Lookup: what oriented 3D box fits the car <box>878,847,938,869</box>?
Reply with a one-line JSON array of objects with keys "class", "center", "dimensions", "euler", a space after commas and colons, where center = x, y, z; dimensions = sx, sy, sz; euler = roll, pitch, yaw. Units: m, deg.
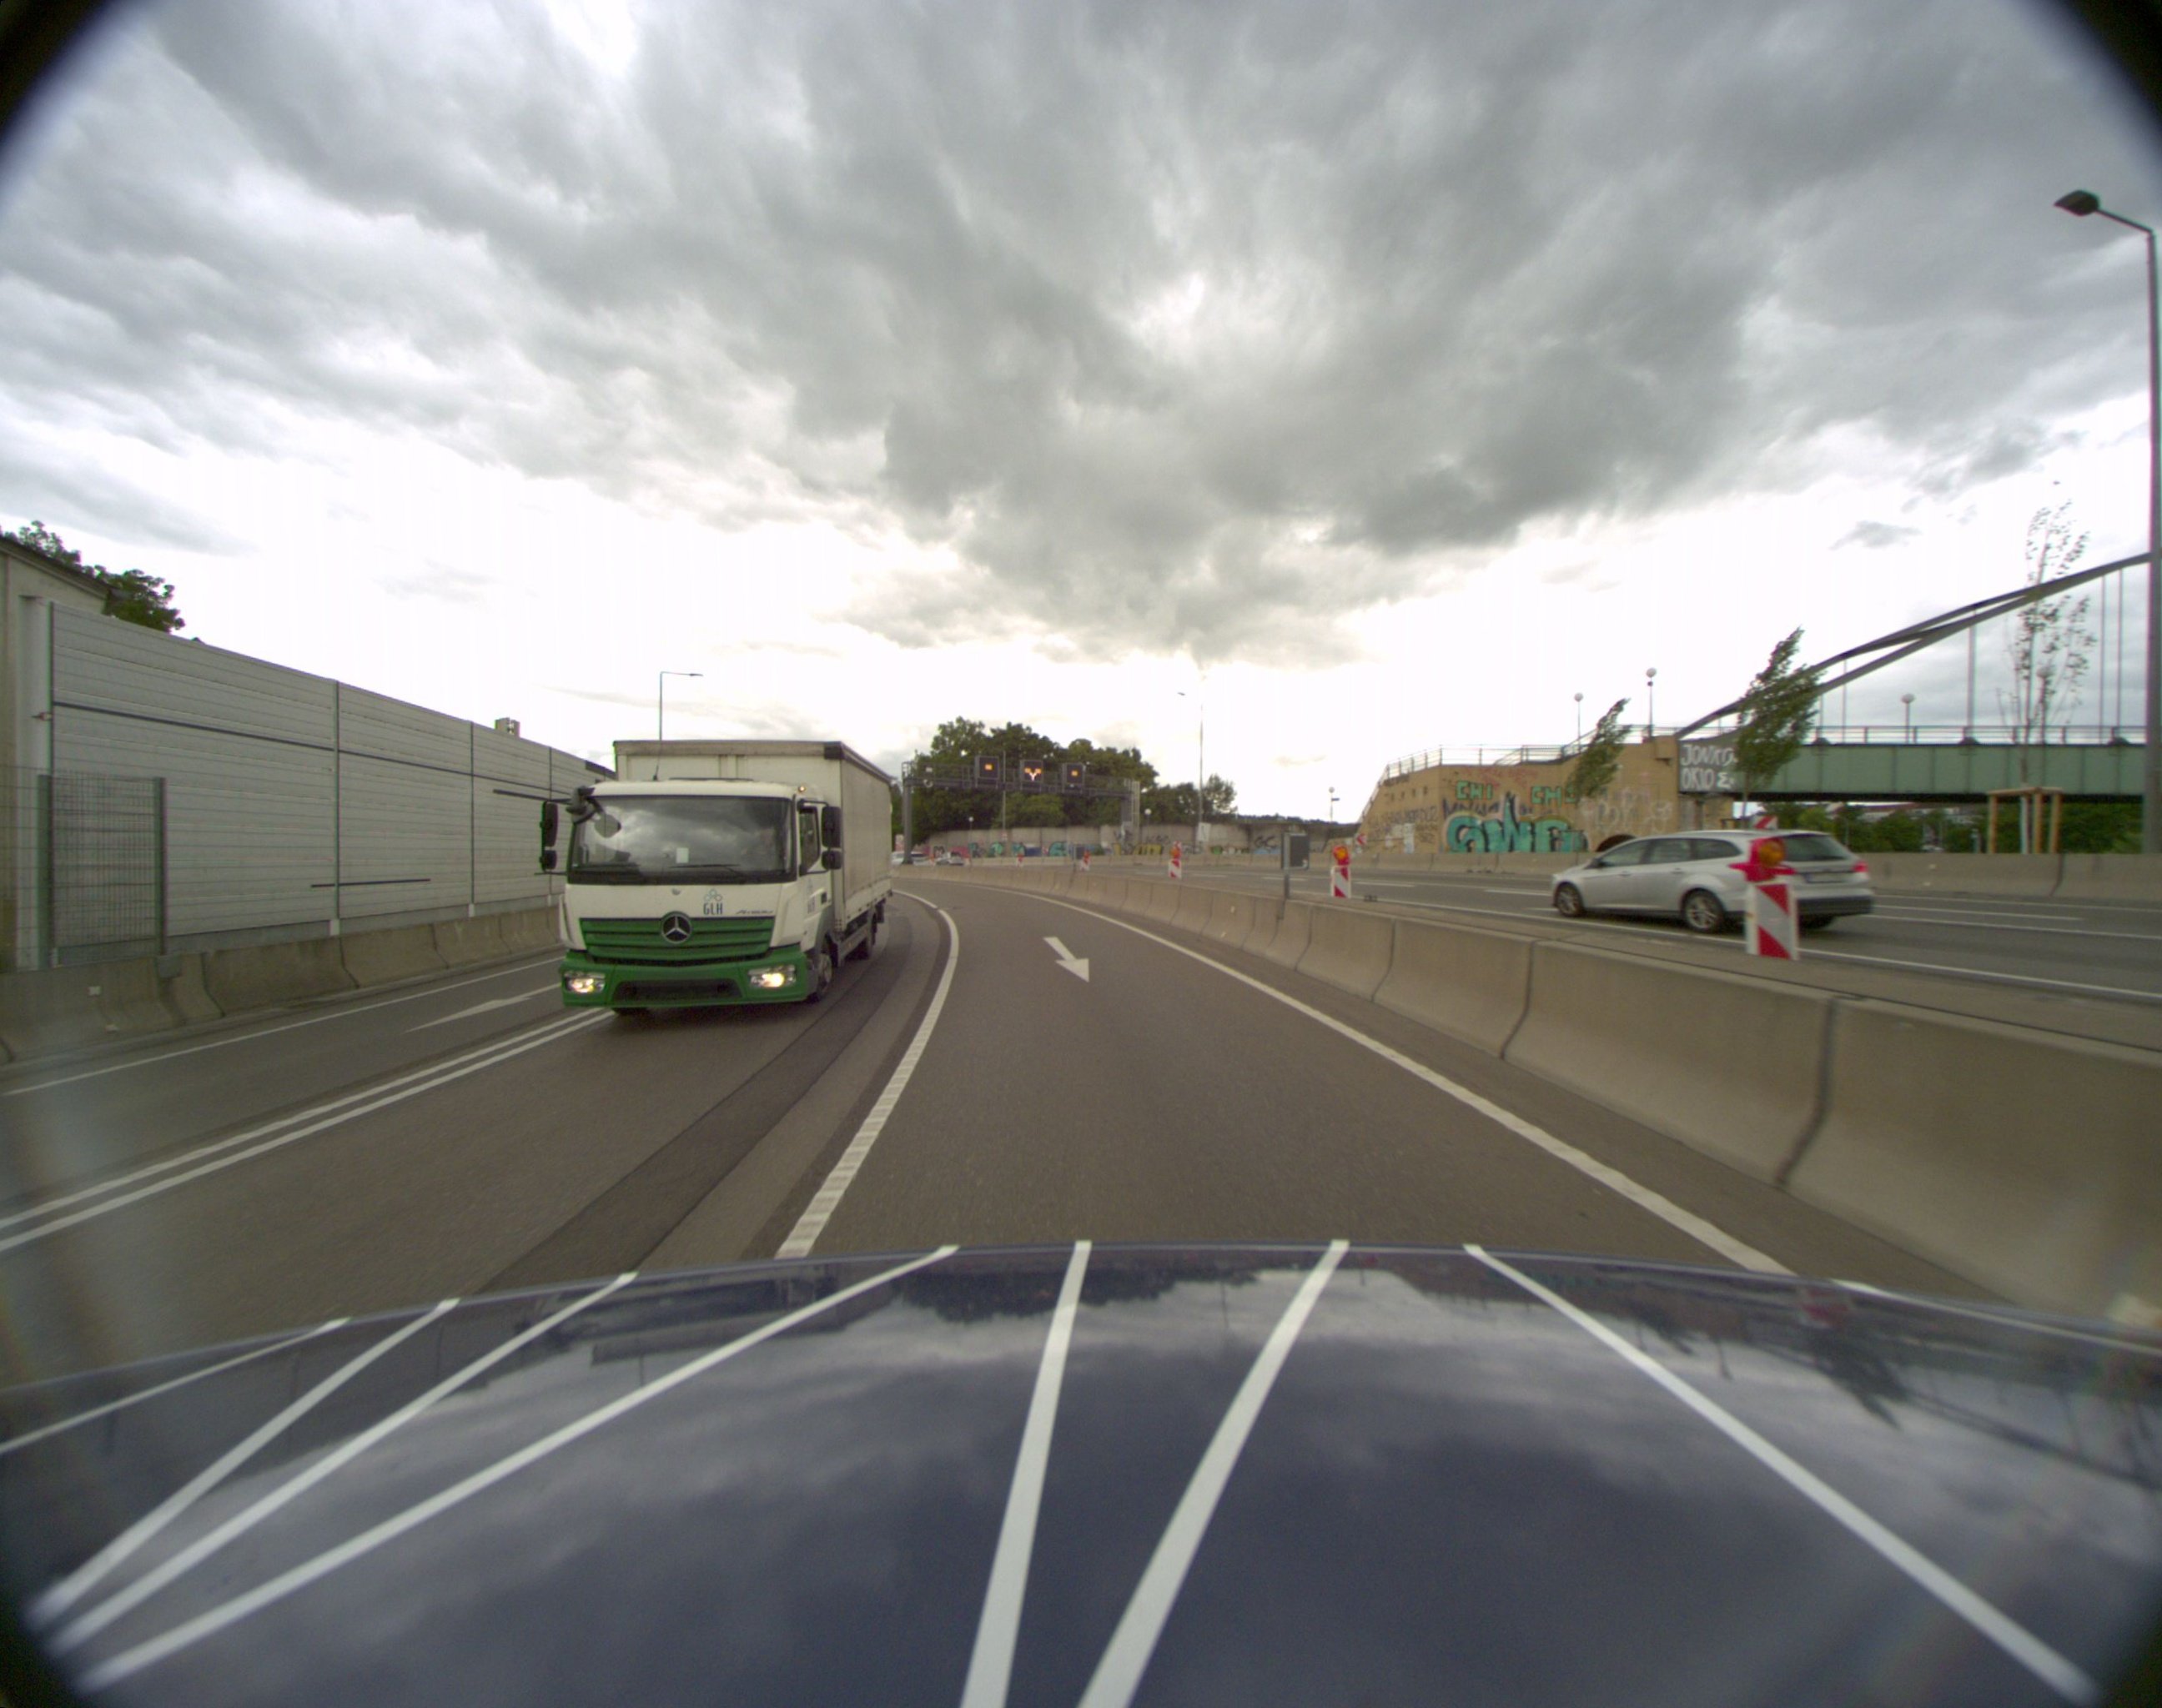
[{"class": "car", "center": [-13.248, 0.315, 58.146], "dimensions": [2.108, 1.543, 5.128], "euler": [-3, 1, -43]}]

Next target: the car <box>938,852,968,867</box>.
[{"class": "car", "center": [-12.879, 0.518, 76.301], "dimensions": [1.634, 1.467, 2.932], "euler": [-2, 1, -43]}]

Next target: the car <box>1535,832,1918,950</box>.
[{"class": "car", "center": [9.503, 0.453, 11.850], "dimensions": [1.799, 1.413, 4.647], "euler": [-2, 1, -4]}]

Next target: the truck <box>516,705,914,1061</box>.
[{"class": "truck", "center": [-4.177, 0.236, 10.763], "dimensions": [2.638, 3.220, 7.411], "euler": [-2, 0, -6]}]
